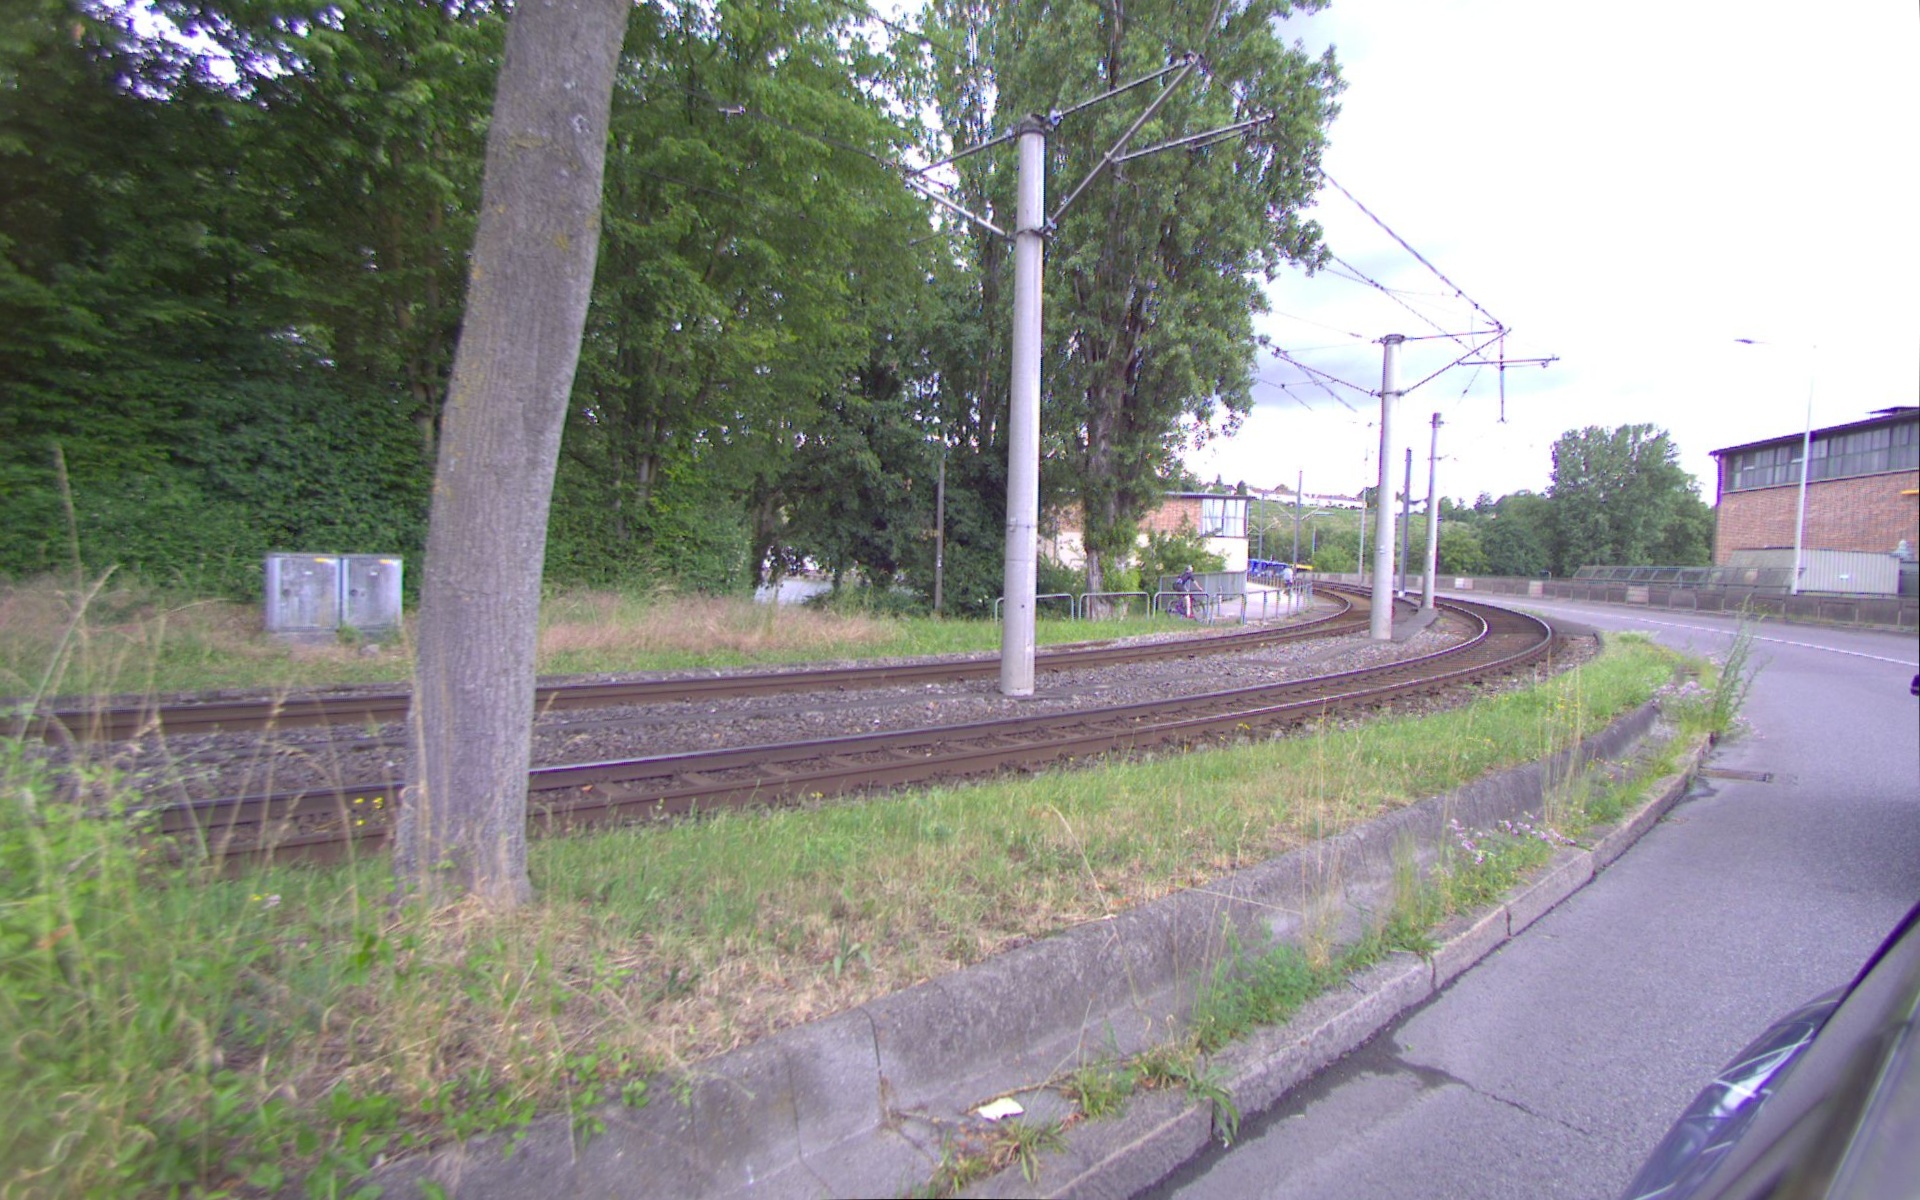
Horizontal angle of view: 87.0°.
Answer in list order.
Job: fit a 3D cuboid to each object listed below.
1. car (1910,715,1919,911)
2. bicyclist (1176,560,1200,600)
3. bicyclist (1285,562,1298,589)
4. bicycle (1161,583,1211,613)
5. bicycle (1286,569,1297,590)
[{"bbox_3d":[6.514,0.628,5.287,3.931,1.641,1.859,-1,3,-41],"label":"car"},{"bbox_3d":[6.340,-0.564,28.133,0.465,1.097,0.418,1,2,-31],"label":"bicyclist"},{"bbox_3d":[17.124,-1.268,52.337,0.587,1.377,0.906,1,1,15],"label":"bicyclist"},{"bbox_3d":[6.299,-0.062,28.131,1.517,0.804,0.348,0,2,-32],"label":"bicycle"},{"bbox_3d":[17.148,-1.068,52.398,0.421,1.063,2.070,1,1,15],"label":"bicycle"}]
